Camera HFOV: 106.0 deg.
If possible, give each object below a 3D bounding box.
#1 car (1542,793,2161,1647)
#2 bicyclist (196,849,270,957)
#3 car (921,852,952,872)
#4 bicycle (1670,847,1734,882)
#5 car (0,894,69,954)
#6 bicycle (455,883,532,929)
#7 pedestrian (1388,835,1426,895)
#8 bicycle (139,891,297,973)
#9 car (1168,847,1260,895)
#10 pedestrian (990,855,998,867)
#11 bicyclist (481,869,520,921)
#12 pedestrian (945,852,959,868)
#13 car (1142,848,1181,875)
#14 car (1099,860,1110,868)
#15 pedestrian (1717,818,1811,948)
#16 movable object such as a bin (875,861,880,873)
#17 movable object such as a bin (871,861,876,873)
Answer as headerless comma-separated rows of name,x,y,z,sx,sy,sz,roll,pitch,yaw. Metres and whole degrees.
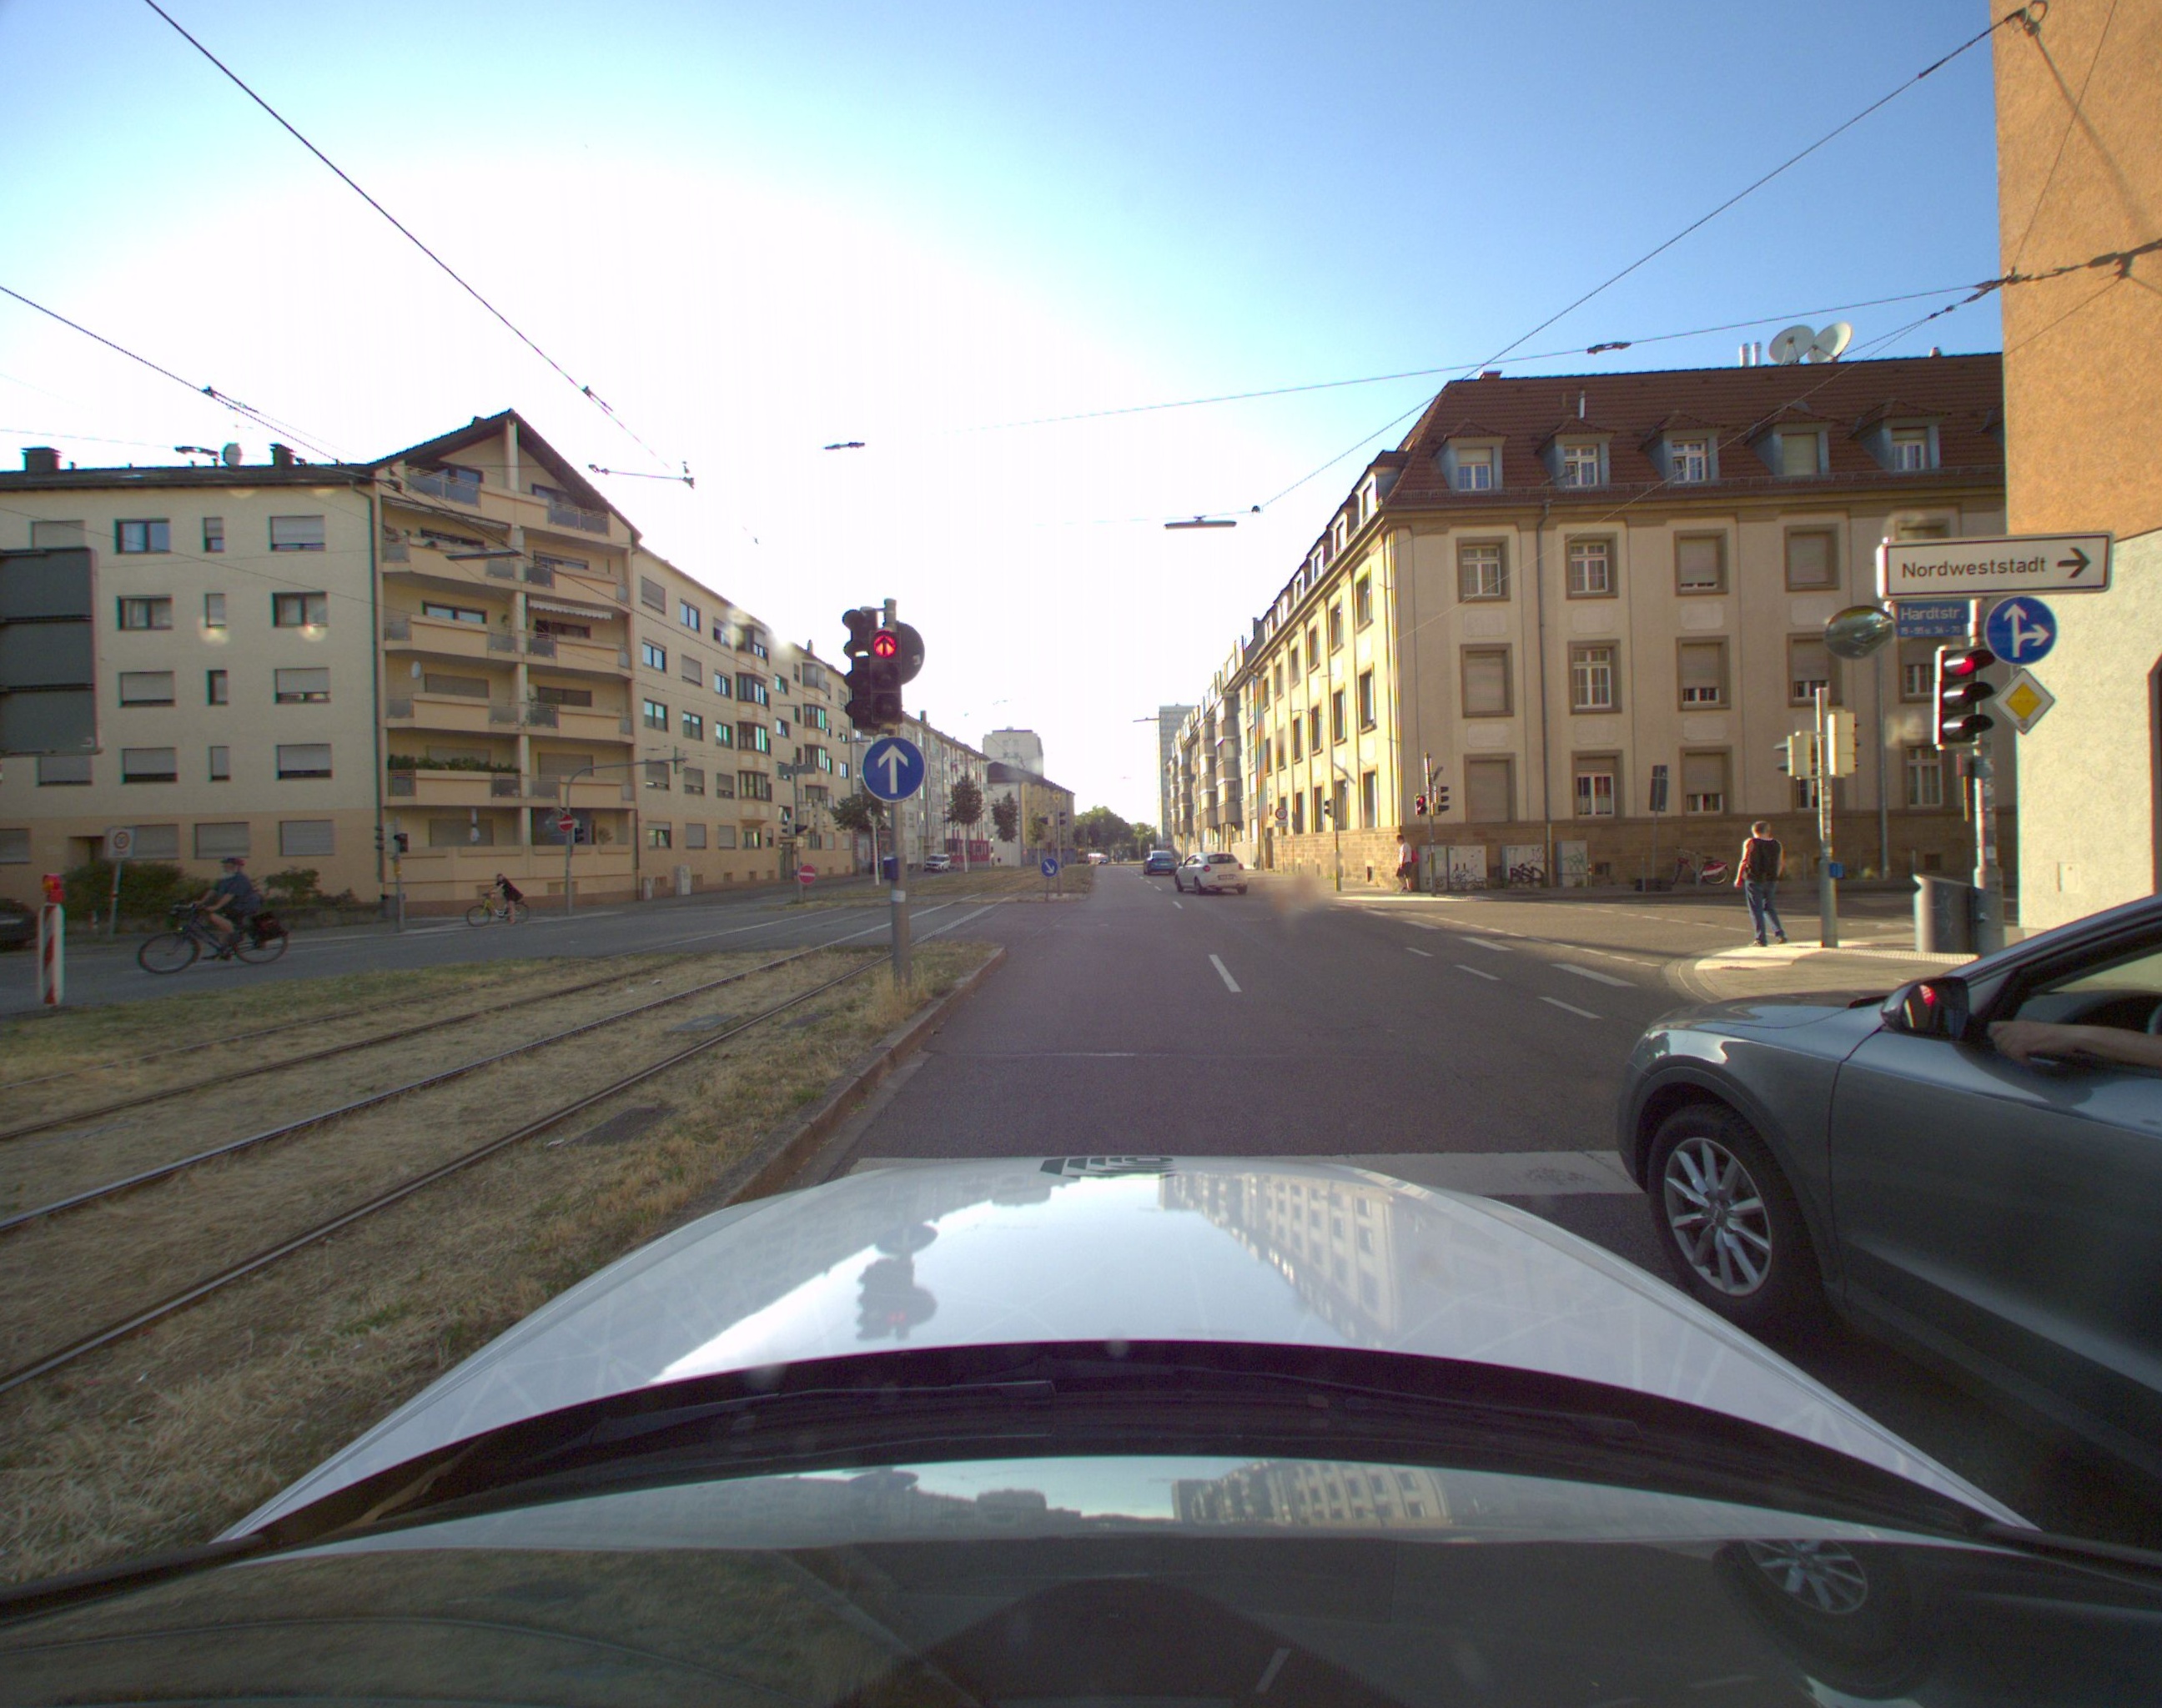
car,2.818,0.674,1.474,1.691,1.552,4.227,1,0,2
bicyclist,-15.414,0.867,14.806,0.645,1.882,0.814,-1,0,35
car,-14.540,0.812,82.150,1.984,1.925,4.548,-1,-1,5
bicycle,18.300,0.327,24.011,1.491,1.018,0.251,-1,-1,17
car,-30.209,1.939,21.520,3.983,1.442,1.996,-2,2,-7
bicycle,-18.264,1.591,25.376,0.450,1.257,1.883,-1,1,34
pedestrian,9.775,0.327,24.446,0.832,1.762,0.824,0,-1,1
bicycle,-15.504,1.361,14.689,0.450,1.257,1.883,-1,1,35
car,4.609,0.563,28.813,1.994,1.564,3.986,0,-1,-10
pedestrian,-12.501,0.961,117.092,0.957,1.694,1.013,-1,-1,7
bicyclist,-18.194,1.265,25.519,0.620,1.586,0.814,-1,0,35
pedestrian,-14.710,0.666,92.861,1.263,1.761,1.276,-1,-1,6
car,4.800,0.439,49.060,1.986,1.554,4.394,0,-1,1
car,5.418,2.313,188.717,1.885,1.633,4.761,-2,0,10
pedestrian,9.623,0.399,11.502,0.627,1.758,0.826,0,-1,1
movable object such as a bin,-17.334,1.109,69.412,0.297,1.036,0.441,0,-1,1
movable object such as a bin,-17.574,1.119,68.874,0.297,1.036,0.442,0,-1,4
